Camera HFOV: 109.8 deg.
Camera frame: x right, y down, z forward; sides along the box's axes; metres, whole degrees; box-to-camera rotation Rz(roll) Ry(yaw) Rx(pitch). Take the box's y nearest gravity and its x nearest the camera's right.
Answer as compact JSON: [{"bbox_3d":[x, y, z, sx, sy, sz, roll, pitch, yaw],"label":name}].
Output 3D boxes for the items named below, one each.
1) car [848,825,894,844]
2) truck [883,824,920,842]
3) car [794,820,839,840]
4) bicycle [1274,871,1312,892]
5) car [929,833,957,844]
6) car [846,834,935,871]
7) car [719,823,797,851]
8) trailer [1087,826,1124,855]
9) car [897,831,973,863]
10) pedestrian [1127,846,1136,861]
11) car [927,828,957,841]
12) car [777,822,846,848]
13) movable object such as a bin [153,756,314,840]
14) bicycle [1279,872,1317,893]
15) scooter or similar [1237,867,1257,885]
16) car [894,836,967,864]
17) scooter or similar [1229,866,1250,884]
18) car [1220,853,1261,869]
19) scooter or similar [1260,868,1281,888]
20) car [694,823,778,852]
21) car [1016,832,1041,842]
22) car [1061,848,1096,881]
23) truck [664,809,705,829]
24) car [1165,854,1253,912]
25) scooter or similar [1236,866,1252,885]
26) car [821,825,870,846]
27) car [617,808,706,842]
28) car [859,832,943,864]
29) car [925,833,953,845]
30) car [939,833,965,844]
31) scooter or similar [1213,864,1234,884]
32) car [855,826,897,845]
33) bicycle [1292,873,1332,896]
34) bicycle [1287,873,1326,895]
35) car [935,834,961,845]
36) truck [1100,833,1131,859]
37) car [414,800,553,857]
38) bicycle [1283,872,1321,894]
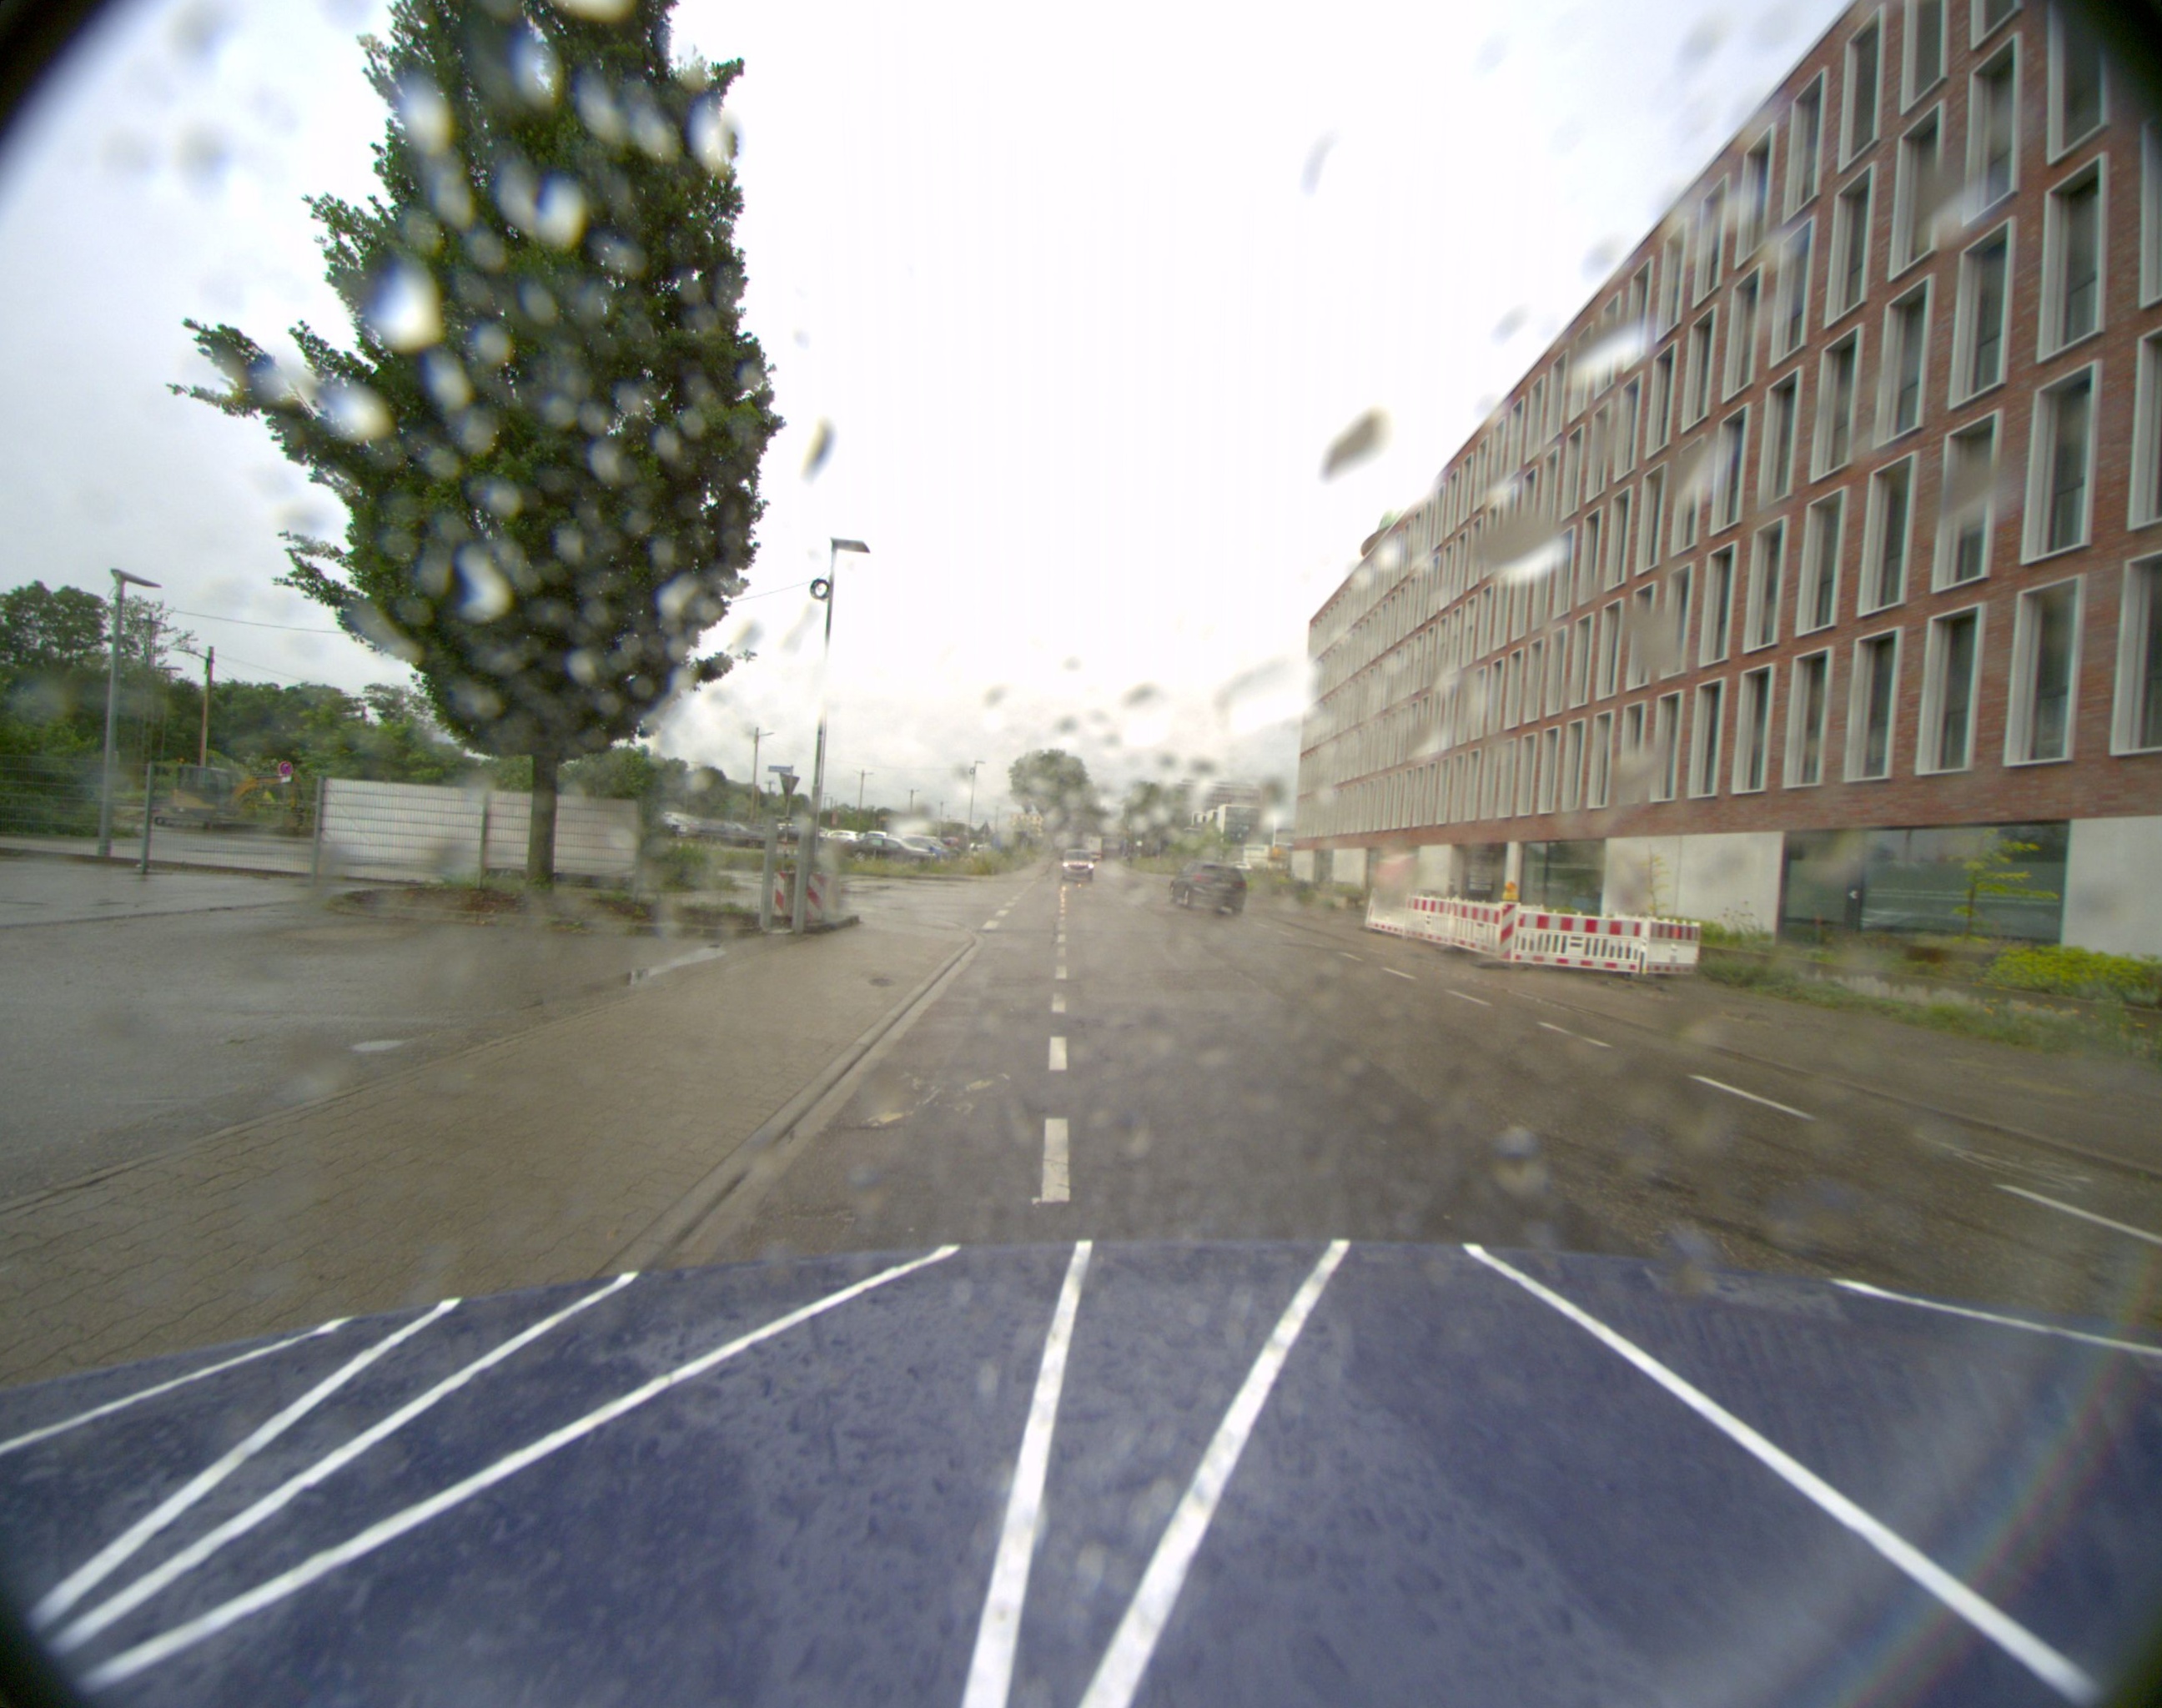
[{"bbox_3d":[-21.728,-1.980,78.798,4.054,1.476,1.927,7,2,2],"label":"car"},{"bbox_3d":[-28.939,-3.337,122.681,5.302,2.354,2.152,5,1,-1],"label":"truck"},{"bbox_3d":[-28.244,-2.568,81.150,4.072,1.650,1.831,6,2,-3],"label":"car"},{"bbox_3d":[11.997,1.551,43.032,1.953,1.071,0.620,3,1,-2],"label":"bicycle"},{"bbox_3d":[-22.322,-2.525,122.893,3.962,1.419,1.886,6,2,1],"label":"car"},{"bbox_3d":[-9.901,-0.096,39.765,4.232,1.392,1.888,7,2,-9],"label":"car"},{"bbox_3d":[-20.261,-1.070,47.824,3.997,1.477,1.999,4,2,0],"label":"car"},{"bbox_3d":[4.584,-2.329,136.839,3.298,4.627,13.749,5,1,15],"label":"trailer"},{"bbox_3d":[-10.037,-0.484,52.516,4.691,1.725,2.128,5,2,3],"label":"car"},{"bbox_3d":[6.131,-0.110,92.010,0.911,1.708,1.026,4,2,-1],"label":"pedestrian"},{"bbox_3d":[-20.346,-2.815,111.351,3.962,1.481,1.777,6,2,1],"label":"car"},{"bbox_3d":[-20.902,-1.499,59.059,4.634,1.706,2.017,3,2,-7],"label":"car"},{"bbox_3d":[-33.770,-2.179,30.367,3.998,2.975,1.999,4,1,-2],"label":"movable object such as a bin"},{"bbox_3d":[12.057,1.560,42.219,1.864,1.071,0.544,3,1,-2],"label":"bicycle"},{"bbox_3d":[11.979,1.580,54.859,1.319,1.171,0.467,5,1,5],"label":"scooter or similar"},{"bbox_3d":[-9.619,-0.283,48.785,4.307,1.508,1.819,4,2,0],"label":"car"},{"bbox_3d":[11.175,1.465,53.549,1.321,1.171,0.467,5,1,-13],"label":"scooter or similar"},{"bbox_3d":[19.650,0.826,93.613,4.534,1.632,1.999,4,1,-4],"label":"car"},{"bbox_3d":[12.457,1.559,50.004,1.228,1.201,0.418,5,1,6],"label":"scooter or similar"},{"bbox_3d":[-20.268,-0.984,44.792,3.997,1.401,1.999,4,2,0],"label":"car"},{"bbox_3d":[-8.057,-2.630,117.307,3.782,1.385,1.904,4,2,-3],"label":"car"},{"bbox_3d":[-0.195,0.573,44.788,1.838,1.714,4.171,4,0,-1],"label":"car"},{"bbox_3d":[-48.756,-4.283,93.535,2.086,2.002,5.279,5,0,0],"label":"truck"},{"bbox_3d":[4.119,0.885,25.118,1.765,1.559,4.147,6,0,-4],"label":"car"},{"bbox_3d":[11.276,1.495,52.616,0.466,1.223,1.211,6,1,42],"label":"scooter or similar"},{"bbox_3d":[-21.972,-1.730,70.957,3.838,1.476,1.927,7,2,2],"label":"car"},{"bbox_3d":[-27.061,-1.858,49.126,4.453,1.663,2.042,7,2,-2],"label":"car"},{"bbox_3d":[-10.085,-0.347,42.788,4.192,1.501,1.890,4,2,0],"label":"car"},{"bbox_3d":[-22.344,-2.338,119.678,3.962,1.419,1.886,6,2,1],"label":"car"},{"bbox_3d":[-22.695,-2.671,133.560,4.075,1.482,1.925,6,2,1],"label":"car"},{"bbox_3d":[9.970,1.394,53.144,1.317,1.223,0.468,5,1,28],"label":"scooter or similar"},{"bbox_3d":[-22.031,-1.982,81.797,3.912,1.575,1.786,7,2,2],"label":"car"},{"bbox_3d":[12.135,1.603,39.898,1.864,1.071,0.544,3,1,-2],"label":"bicycle"},{"bbox_3d":[12.078,1.592,40.735,1.864,1.071,0.544,3,1,-2],"label":"bicycle"},{"bbox_3d":[-22.863,-2.454,130.768,3.962,1.419,1.821,6,2,1],"label":"car"},{"bbox_3d":[6.537,-1.467,142.966,3.295,4.627,6.046,5,1,27],"label":"truck"},{"bbox_3d":[-23.883,-0.996,30.487,3.998,1.911,1.831,4,0,-2],"label":"car"},{"bbox_3d":[12.066,1.571,41.579,1.864,1.071,0.544,3,1,-2],"label":"bicycle"}]
